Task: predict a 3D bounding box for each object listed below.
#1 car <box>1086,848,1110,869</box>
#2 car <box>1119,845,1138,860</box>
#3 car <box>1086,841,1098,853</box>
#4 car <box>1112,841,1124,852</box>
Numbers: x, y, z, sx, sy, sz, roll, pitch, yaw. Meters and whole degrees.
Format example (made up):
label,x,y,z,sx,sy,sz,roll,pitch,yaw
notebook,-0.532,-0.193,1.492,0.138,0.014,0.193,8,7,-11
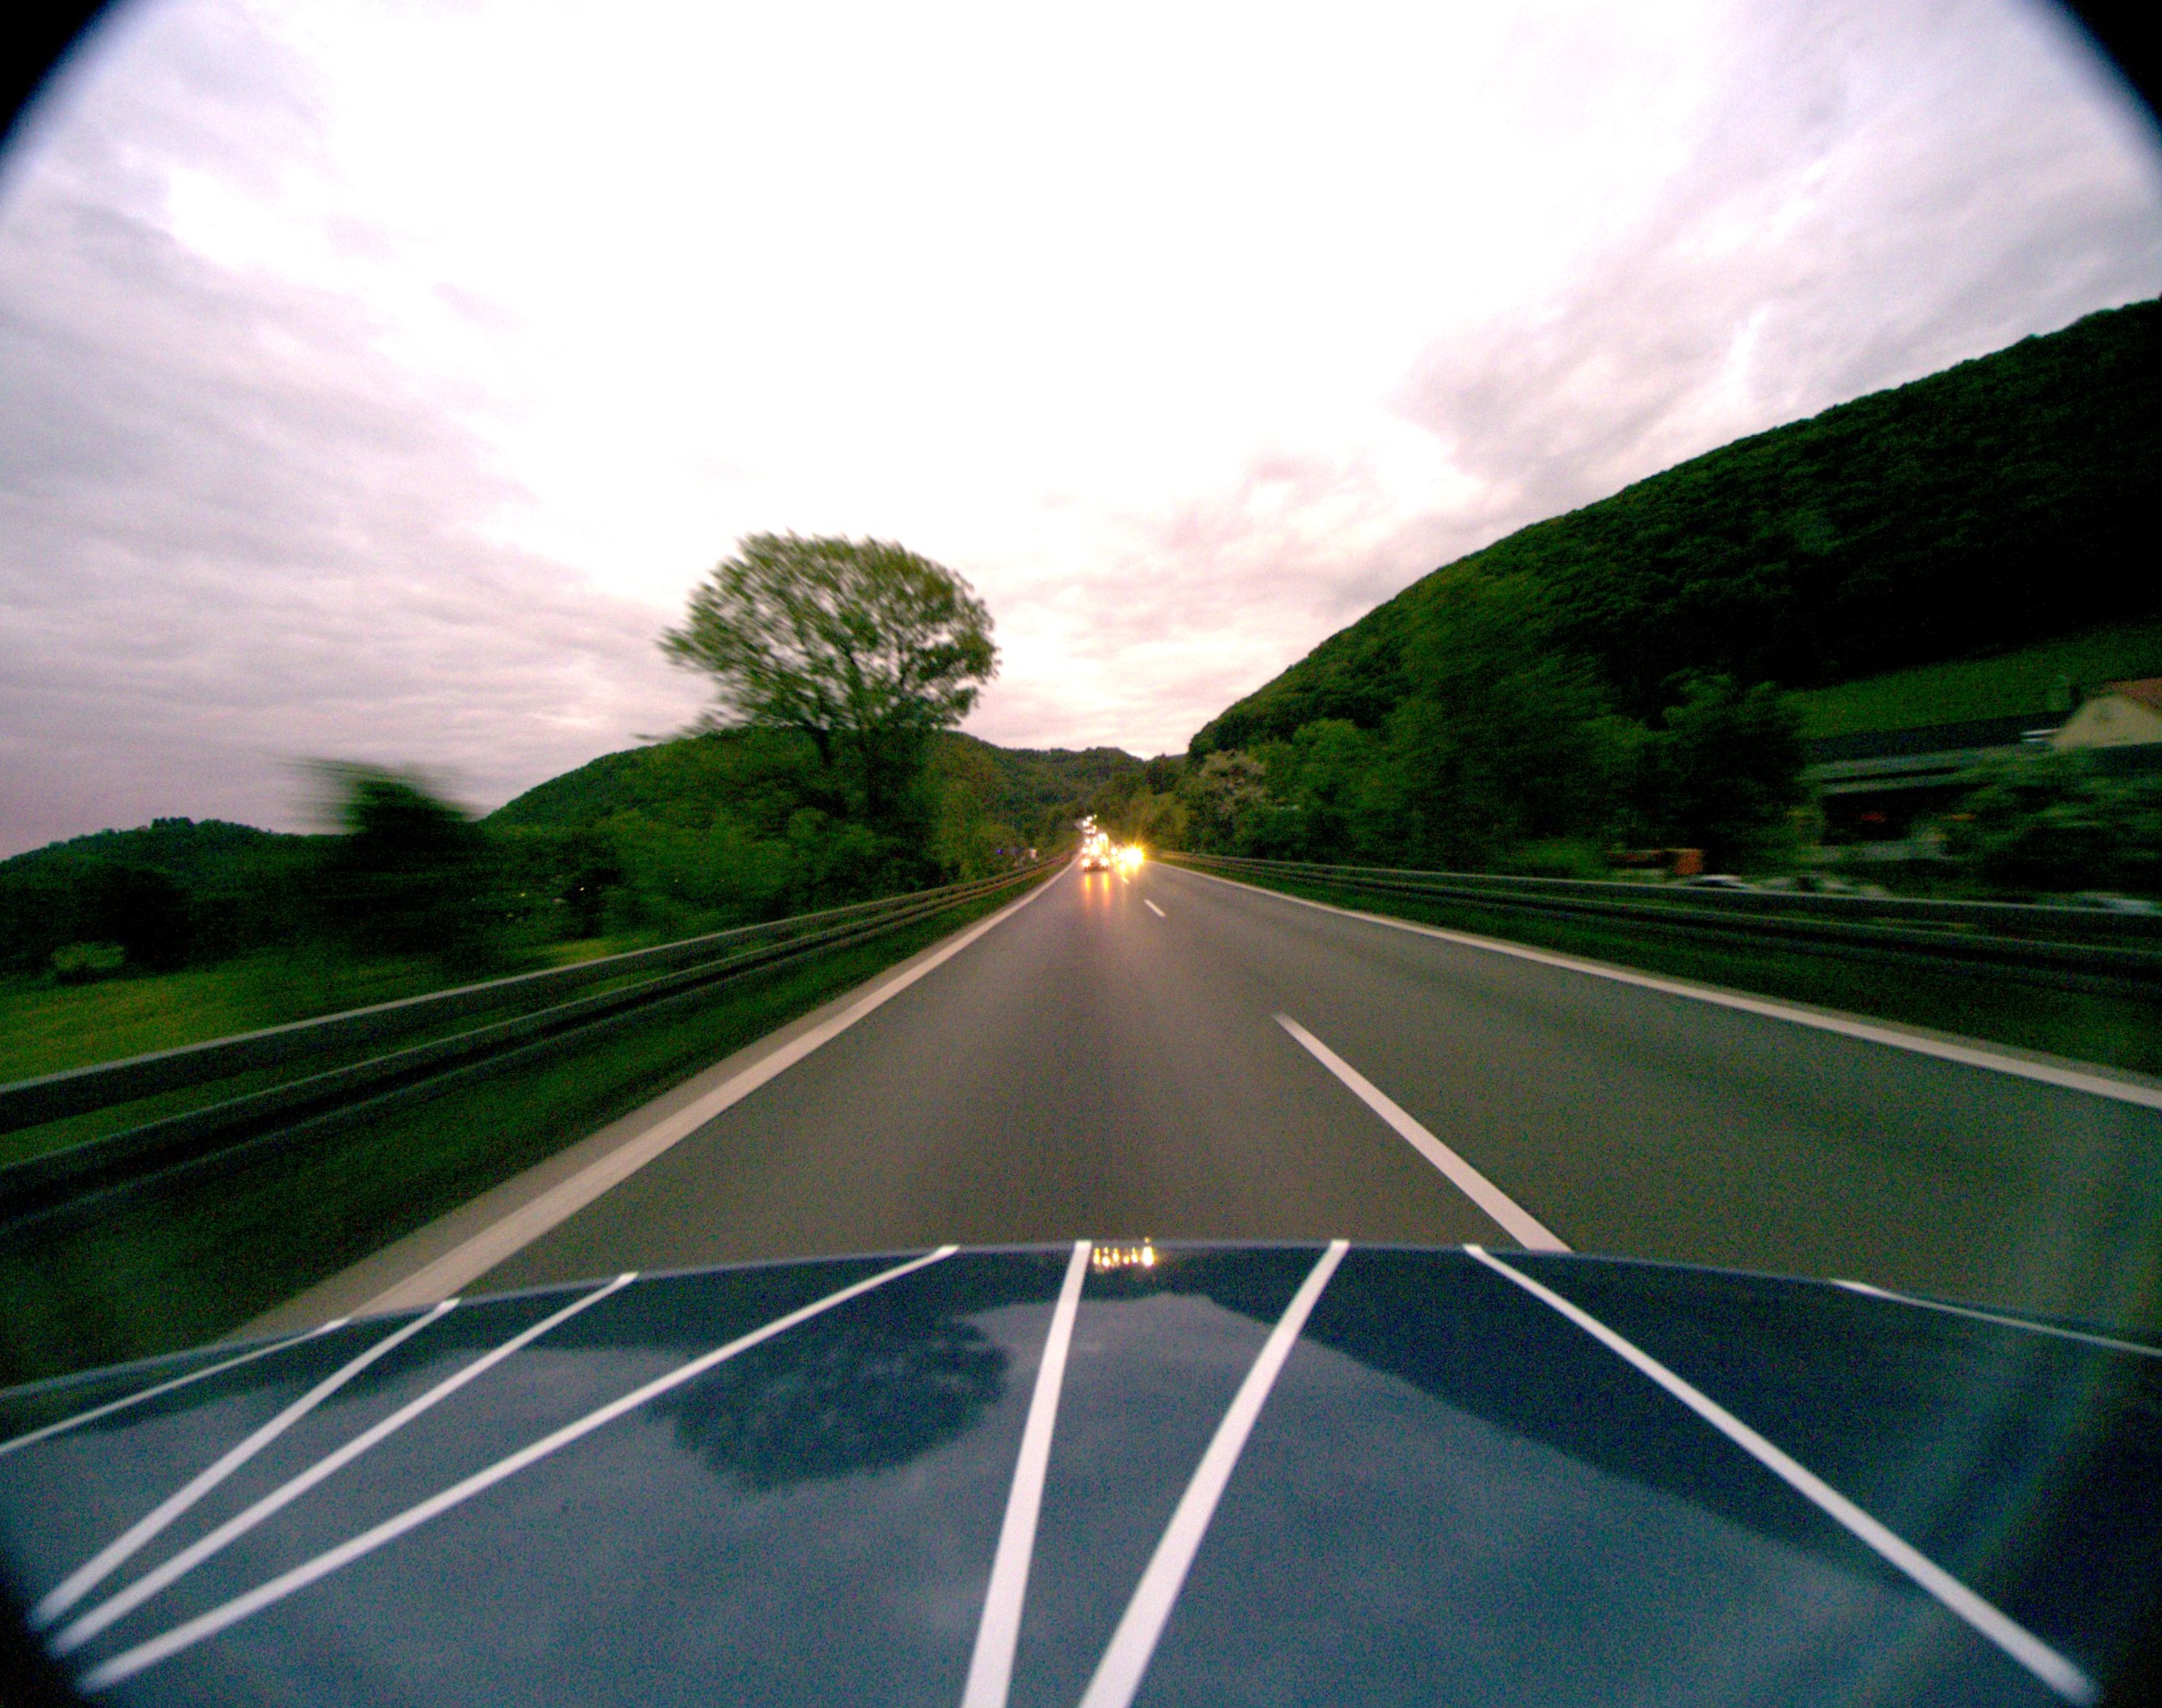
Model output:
label,x,y,z,sx,sy,sz,roll,pitch,yaw
car,1.265,0.361,57.929,1.690,1.443,3.669,-3,-1,1
car,5.004,-0.130,80.142,1.690,1.459,3.768,-3,-1,0
car,1.672,-1.051,114.893,1.737,1.641,3.669,-3,-1,1
car,5.529,-1.112,113.692,1.690,1.424,3.669,-3,-1,1
